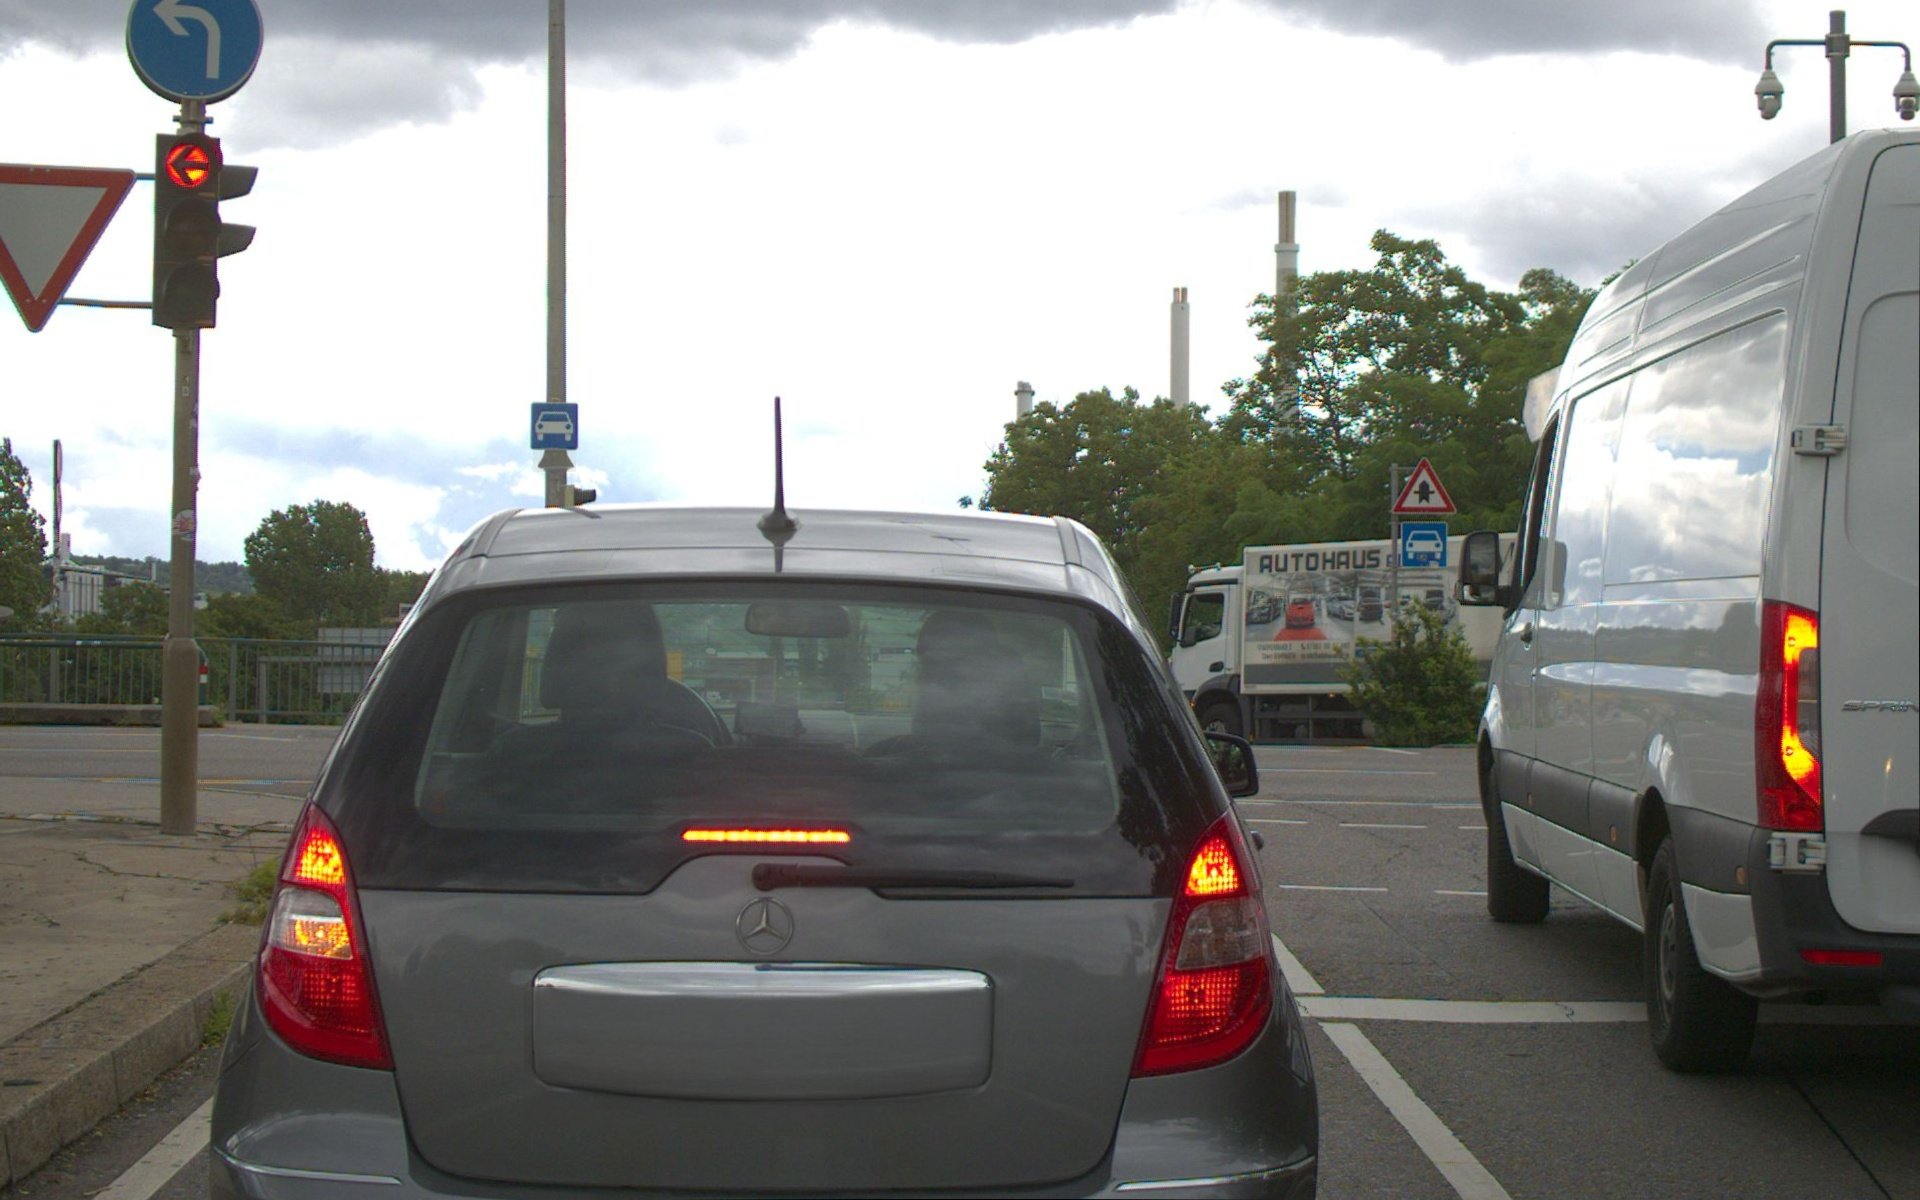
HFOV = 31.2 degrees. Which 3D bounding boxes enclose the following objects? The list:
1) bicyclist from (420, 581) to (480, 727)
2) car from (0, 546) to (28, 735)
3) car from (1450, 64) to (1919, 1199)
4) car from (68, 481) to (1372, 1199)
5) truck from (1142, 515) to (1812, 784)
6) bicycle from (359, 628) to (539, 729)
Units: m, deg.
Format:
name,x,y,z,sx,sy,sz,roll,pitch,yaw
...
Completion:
name,x,y,z,sx,sy,sz,roll,pitch,yaw
bicyclist,-5.956,0.623,40.094,0.653,1.668,0.870,0,1,-11
car,-10.963,0.363,31.345,4.395,1.711,1.936,1,1,17
car,3.102,0.000,11.725,2.110,2.774,6.780,0,1,2
car,-0.292,0.561,6.906,1.858,1.582,4.000,0,2,2
truck,7.221,0.535,49.957,2.790,3.506,10.243,-1,2,-41
bicycle,-5.968,0.908,40.086,2.032,1.121,0.930,0,1,-11
